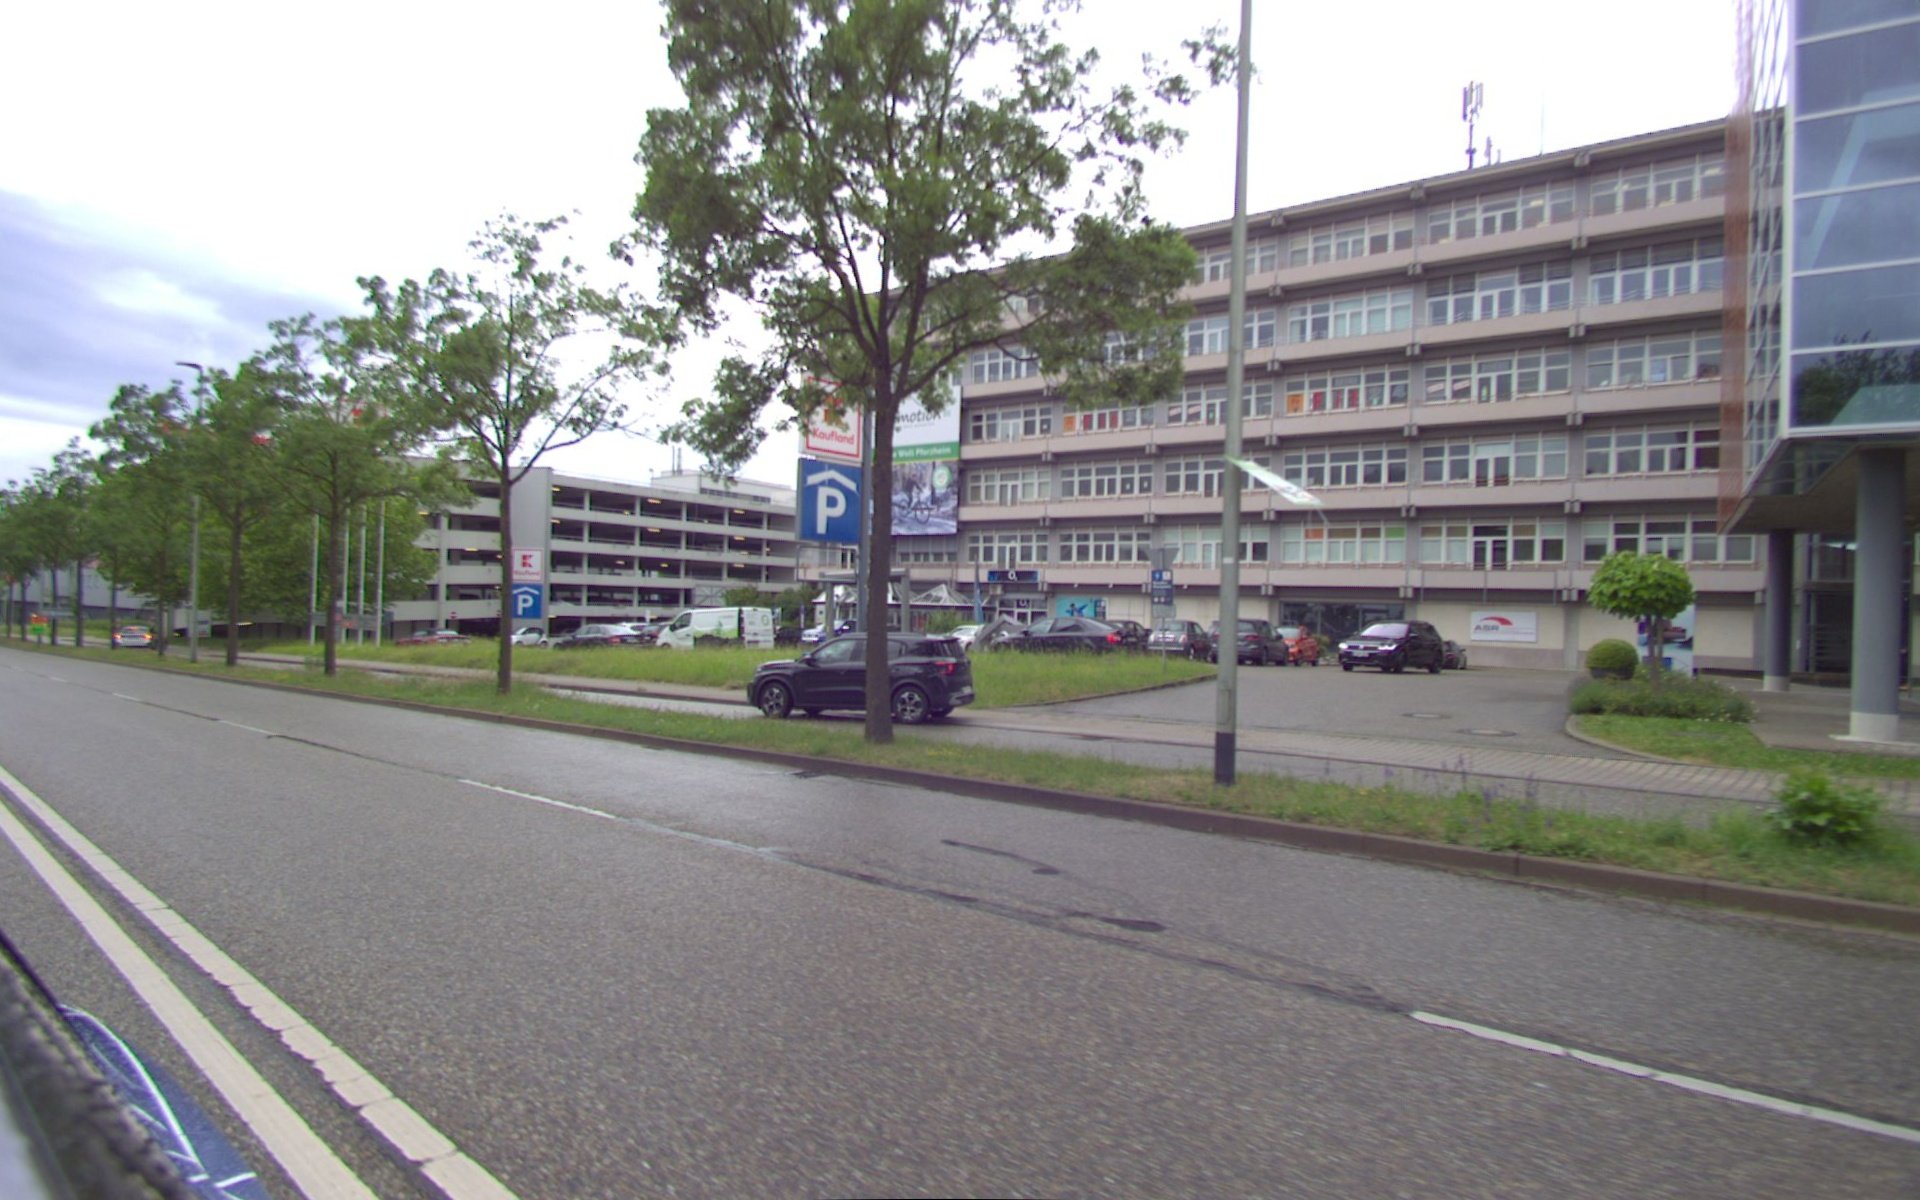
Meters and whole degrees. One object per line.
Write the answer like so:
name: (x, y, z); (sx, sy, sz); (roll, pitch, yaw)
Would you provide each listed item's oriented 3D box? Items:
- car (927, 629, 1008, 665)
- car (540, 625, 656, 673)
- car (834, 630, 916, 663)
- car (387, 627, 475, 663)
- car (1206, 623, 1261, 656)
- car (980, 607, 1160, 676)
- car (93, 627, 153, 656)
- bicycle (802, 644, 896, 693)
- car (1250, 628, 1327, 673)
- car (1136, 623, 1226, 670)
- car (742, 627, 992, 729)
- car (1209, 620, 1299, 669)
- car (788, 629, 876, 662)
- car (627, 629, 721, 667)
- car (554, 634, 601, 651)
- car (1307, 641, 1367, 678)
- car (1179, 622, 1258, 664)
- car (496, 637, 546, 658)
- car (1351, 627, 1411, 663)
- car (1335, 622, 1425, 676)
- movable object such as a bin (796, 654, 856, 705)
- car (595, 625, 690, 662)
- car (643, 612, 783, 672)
car: (0.424, 2.193, 47.879); (1.842, 1.522, 4.242); (-3, -2, 32)
car: (-14.448, 1.964, 40.290); (4.938, 1.775, 2.020); (-3, -2, 38)
car: (-4.215, 2.298, 50.634); (1.940, 1.522, 4.144); (-3, -2, 32)
car: (-25.564, 2.197, 48.865); (4.701, 1.621, 1.916); (-3, -2, 36)
car: (15.355, 2.192, 56.711); (1.795, 1.745, 3.954); (-3, -2, 34)
car: (3.035, 1.158, 28.429); (4.602, 1.787, 2.117); (-3, -2, 39)
car: (-48.584, 2.397, 58.726); (4.572, 1.565, 1.847); (-1, -4, 41)
bicycle: (-2.713, 1.655, 24.937); (1.094, 0.942, 2.053); (0, 3, 45)
car: (12.566, 1.897, 38.565); (1.813, 1.522, 4.158); (-3, -2, 32)
car: (7.935, 1.629, 36.131); (1.813, 1.522, 4.076); (-3, -2, 32)
car: (-1.681, 1.387, 18.682); (4.244, 1.695, 1.791); (0, -3, 15)
car: (10.046, 1.476, 34.417); (1.813, 1.522, 4.158); (-3, -2, 32)
car: (-6.497, 2.320, 51.799); (2.019, 1.522, 4.574); (-3, -2, 32)
car: (-14.369, 2.384, 51.114); (1.894, 1.759, 4.464); (-3, -2, 32)
car: (-35.886, 4.014, 94.986); (3.787, 1.473, 1.754); (-1, 0, -3)
car: (18.072, 2.820, 48.403); (1.813, 1.585, 4.158); (-3, -2, 32)
car: (10.226, 1.681, 39.910); (1.813, 1.522, 4.076); (-3, -2, 32)
car: (-29.602, 3.201, 68.255); (1.604, 1.376, 2.676); (-2, -4, 31)
car: (19.600, 2.062, 47.002); (1.795, 1.522, 3.954); (-3, -2, 34)
car: (13.321, 1.507, 31.977); (1.895, 1.522, 4.158); (-3, -2, 32)
movable object such as a bin: (-2.989, 1.754, 22.620); (1.085, 1.087, 0.810); (-1, -3, 41)
car: (-16.418, 2.222, 52.550); (1.961, 1.759, 4.563); (-3, -2, 32)
car: (-9.227, 1.582, 37.694); (5.105, 2.112, 2.098); (-3, -2, 32)
